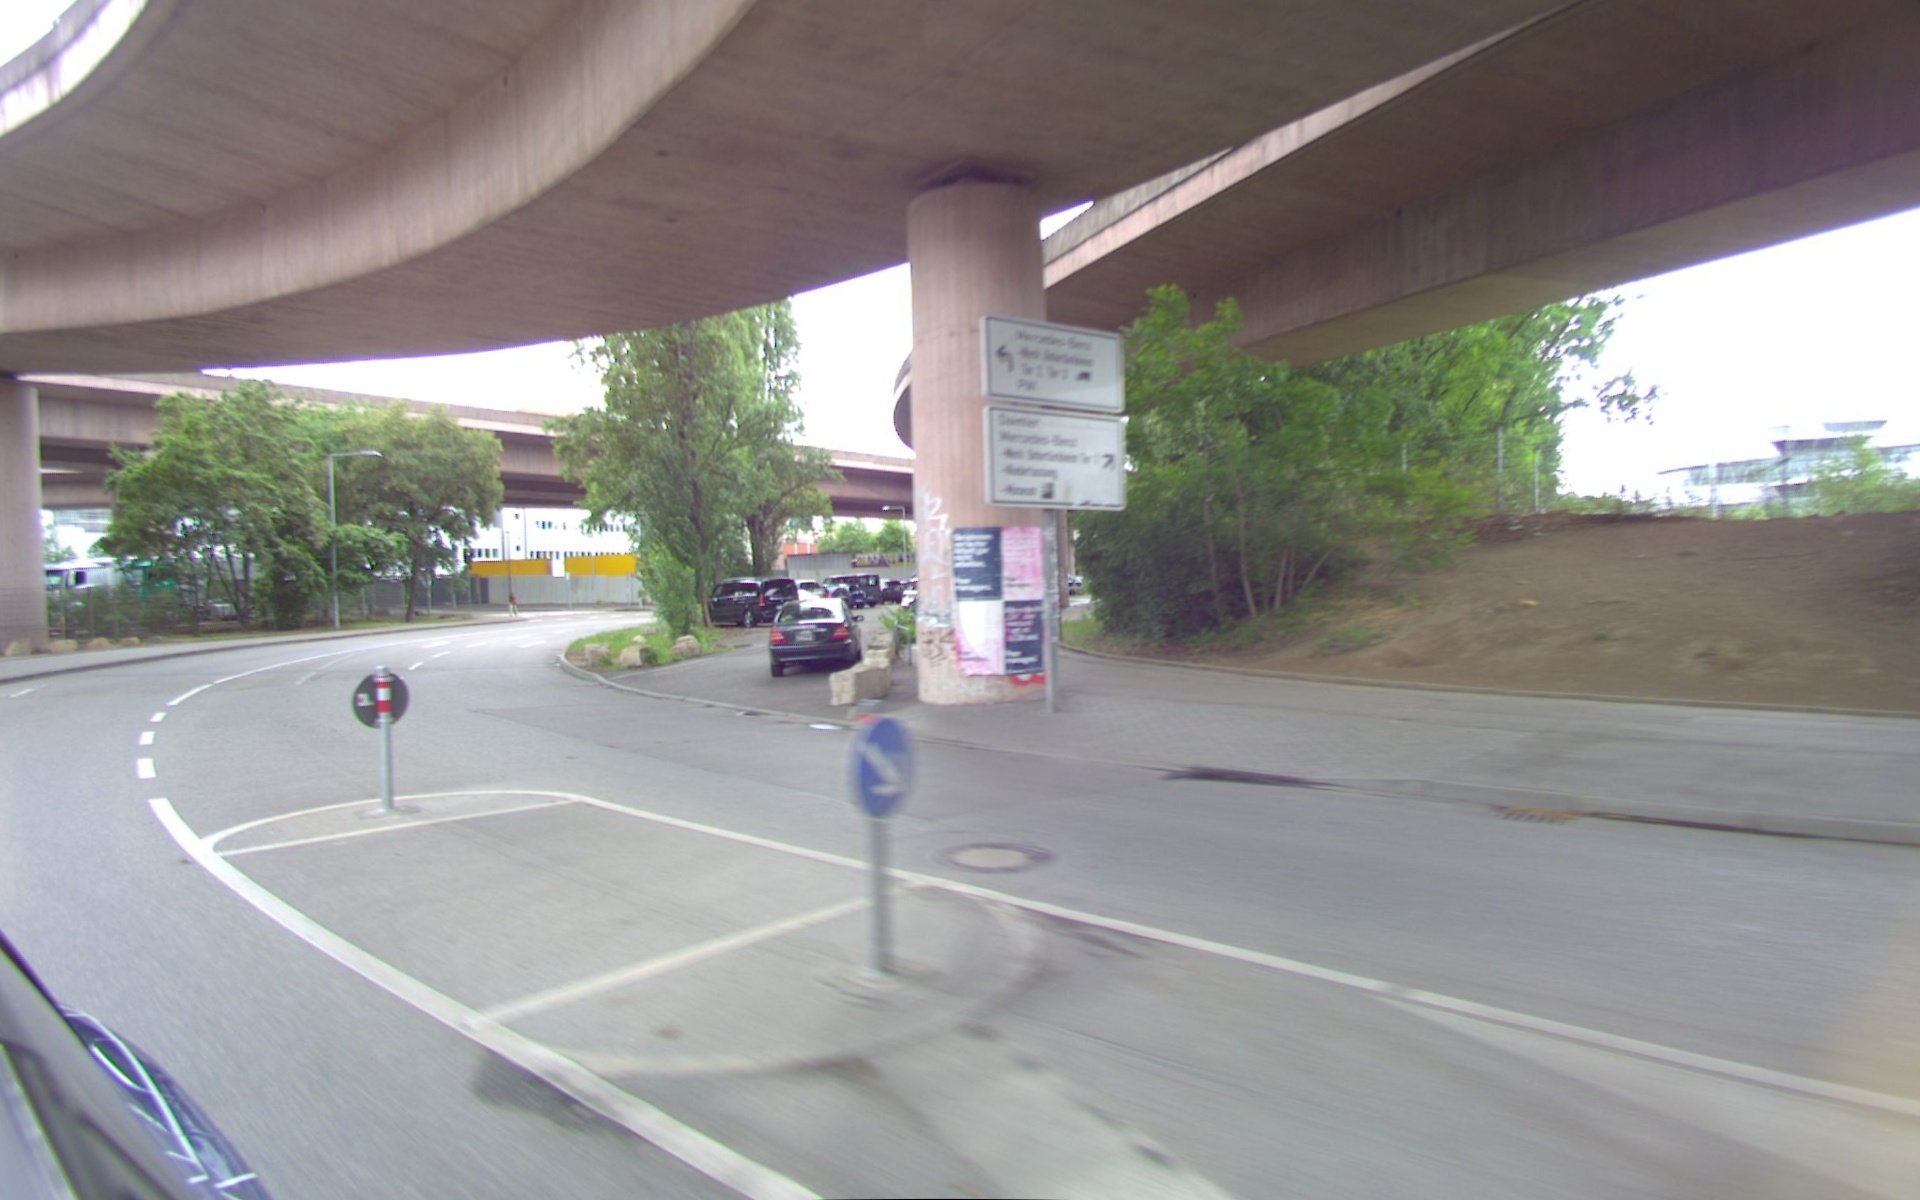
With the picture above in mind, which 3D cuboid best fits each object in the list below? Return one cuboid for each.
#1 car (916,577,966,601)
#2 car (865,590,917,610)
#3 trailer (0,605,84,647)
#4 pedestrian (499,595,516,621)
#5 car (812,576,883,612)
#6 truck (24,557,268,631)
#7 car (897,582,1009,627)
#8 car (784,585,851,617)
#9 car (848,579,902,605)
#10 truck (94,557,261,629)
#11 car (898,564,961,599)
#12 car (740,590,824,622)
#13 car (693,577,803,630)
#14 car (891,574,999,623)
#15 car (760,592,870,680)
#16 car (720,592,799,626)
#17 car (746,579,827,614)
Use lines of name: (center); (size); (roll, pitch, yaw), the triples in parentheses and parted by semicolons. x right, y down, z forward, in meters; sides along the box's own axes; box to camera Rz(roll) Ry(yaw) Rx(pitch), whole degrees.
car: (-1.562, -0.895, 81.390); (1.609, 1.870, 4.501); (1, 1, -39)
car: (-4.750, -0.023, 68.936); (3.626, 1.243, 1.338); (2, 1, 41)
trailer: (-33.727, 0.902, 35.998); (1.582, 1.341, 4.387); (-1, 1, -4)
pedestrian: (-30.425, 0.553, 68.056); (0.744, 1.693, 0.855); (-1, 1, 0)
car: (-6.804, -0.385, 60.707); (1.827, 2.029, 4.730); (1, 1, -41)
truck: (-42.271, -0.395, 53.172); (2.256, 3.524, 10.138); (0, 1, 23)
car: (-0.225, 0.132, 36.551); (3.805, 1.475, 1.542); (-2, 1, -35)
car: (-7.523, 0.026, 53.396); (1.671, 1.547, 3.631); (-2, 2, -44)
car: (-5.542, -0.505, 65.874); (3.626, 1.576, 1.338); (2, 1, 41)
truck: (-39.558, -0.409, 51.427); (2.258, 3.434, 6.358); (0, 1, 25)
car: (-2.417, -1.456, 78.524); (1.800, 2.600, 5.698); (1, 1, -39)
car: (-8.341, 0.253, 47.155); (1.671, 1.374, 4.521); (-2, 2, -43)
car: (-8.405, 0.114, 39.788); (1.830, 1.931, 4.977); (-2, 2, -44)
car: (-0.551, -0.086, 39.154); (4.001, 1.720, 1.738); (-2, 2, -42)
car: (-2.842, 0.630, 20.722); (1.801, 1.441, 4.778); (-4, 1, -4)
car: (-8.678, 0.359, 43.660); (1.542, 1.390, 3.708); (-2, 2, -44)
car: (-8.889, -0.190, 51.585); (1.671, 1.686, 4.681); (-2, 2, -44)
